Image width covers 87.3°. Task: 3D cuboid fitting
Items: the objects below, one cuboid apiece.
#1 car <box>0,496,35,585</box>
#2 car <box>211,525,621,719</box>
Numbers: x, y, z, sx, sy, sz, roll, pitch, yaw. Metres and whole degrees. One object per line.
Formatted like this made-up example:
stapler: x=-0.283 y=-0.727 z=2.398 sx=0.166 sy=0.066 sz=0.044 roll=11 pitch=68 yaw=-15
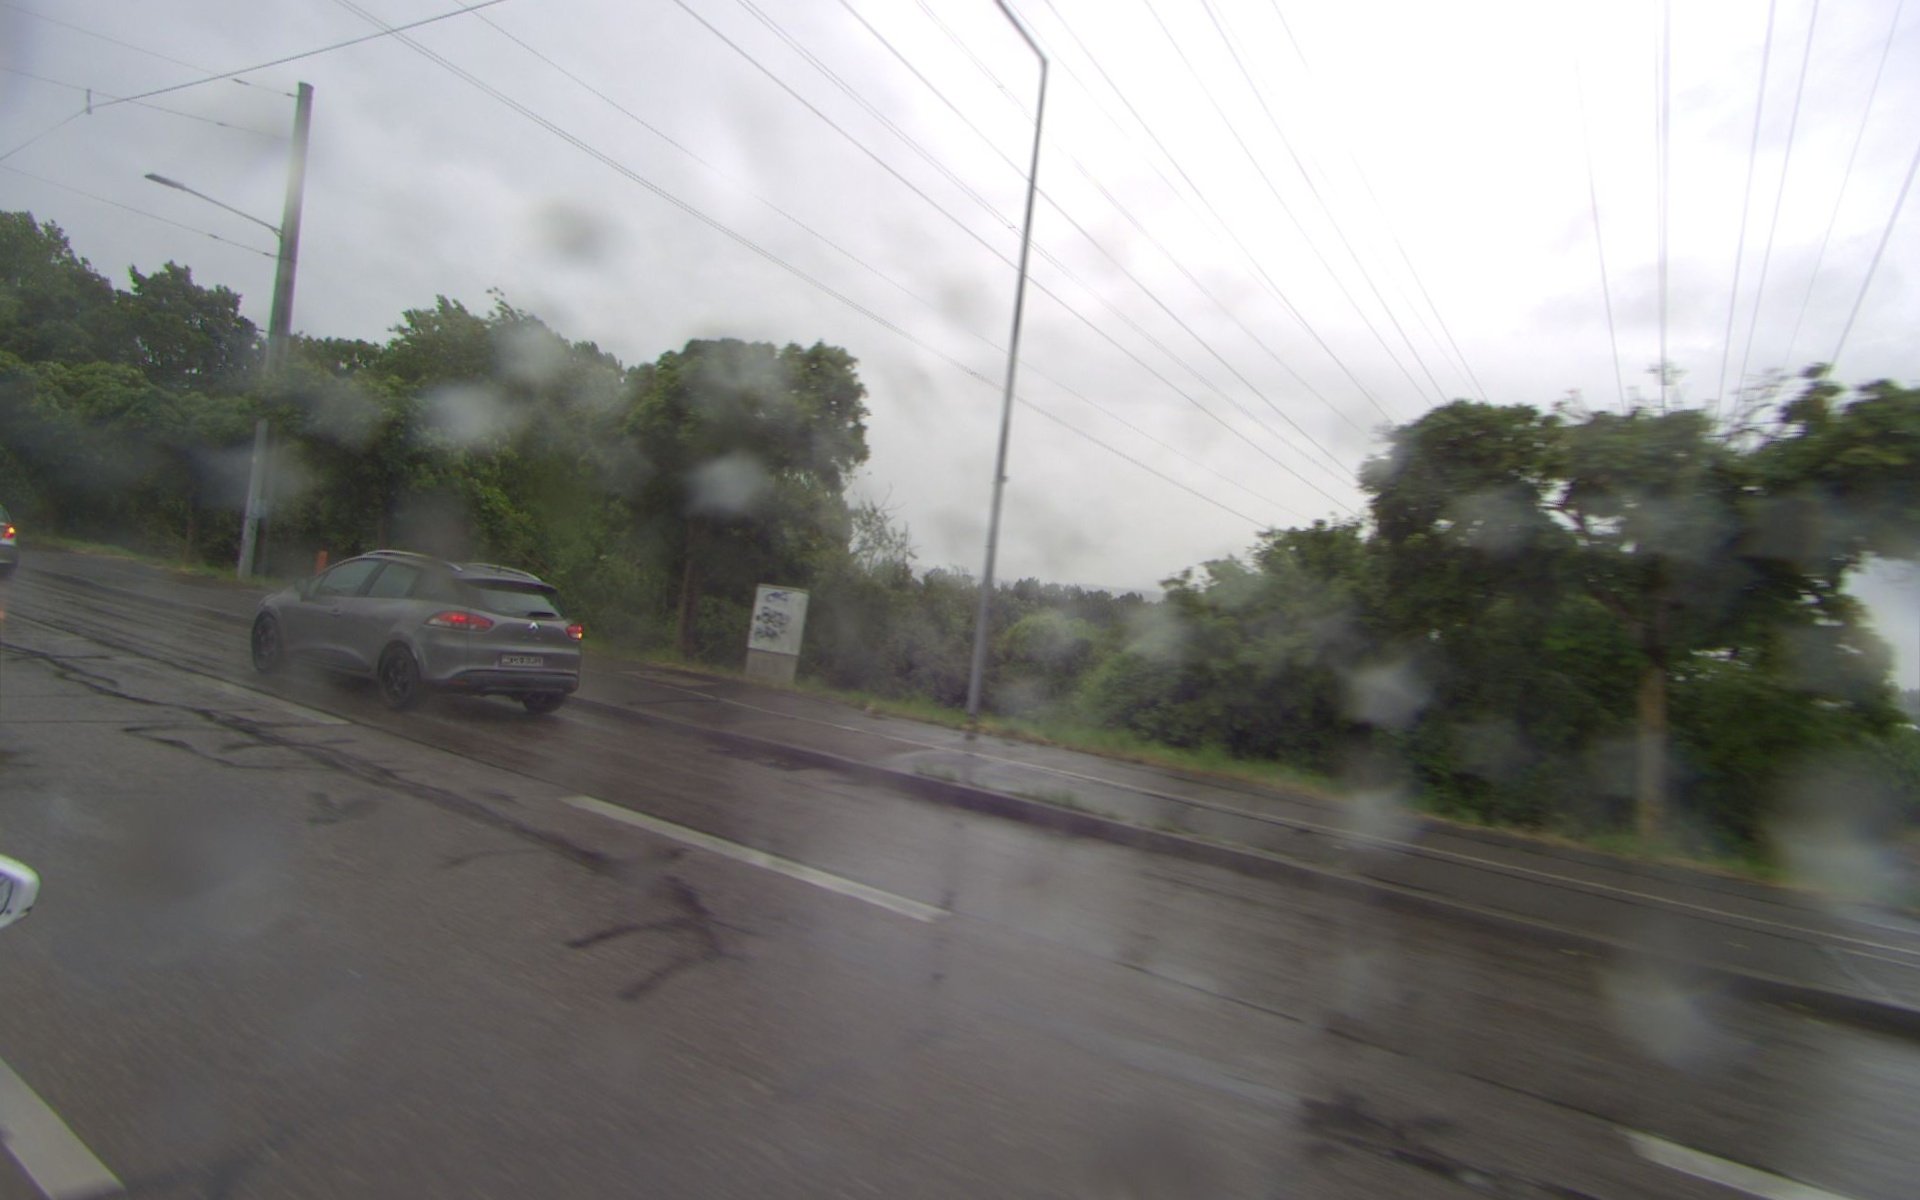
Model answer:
car: x=-19.280 y=-1.380 z=18.762 sx=4.528 sy=1.520 sz=1.630 roll=8 pitch=-1 yaw=30
car: x=-5.786 y=0.197 z=10.567 sx=4.207 sy=1.372 sz=1.891 roll=8 pitch=-1 yaw=33
